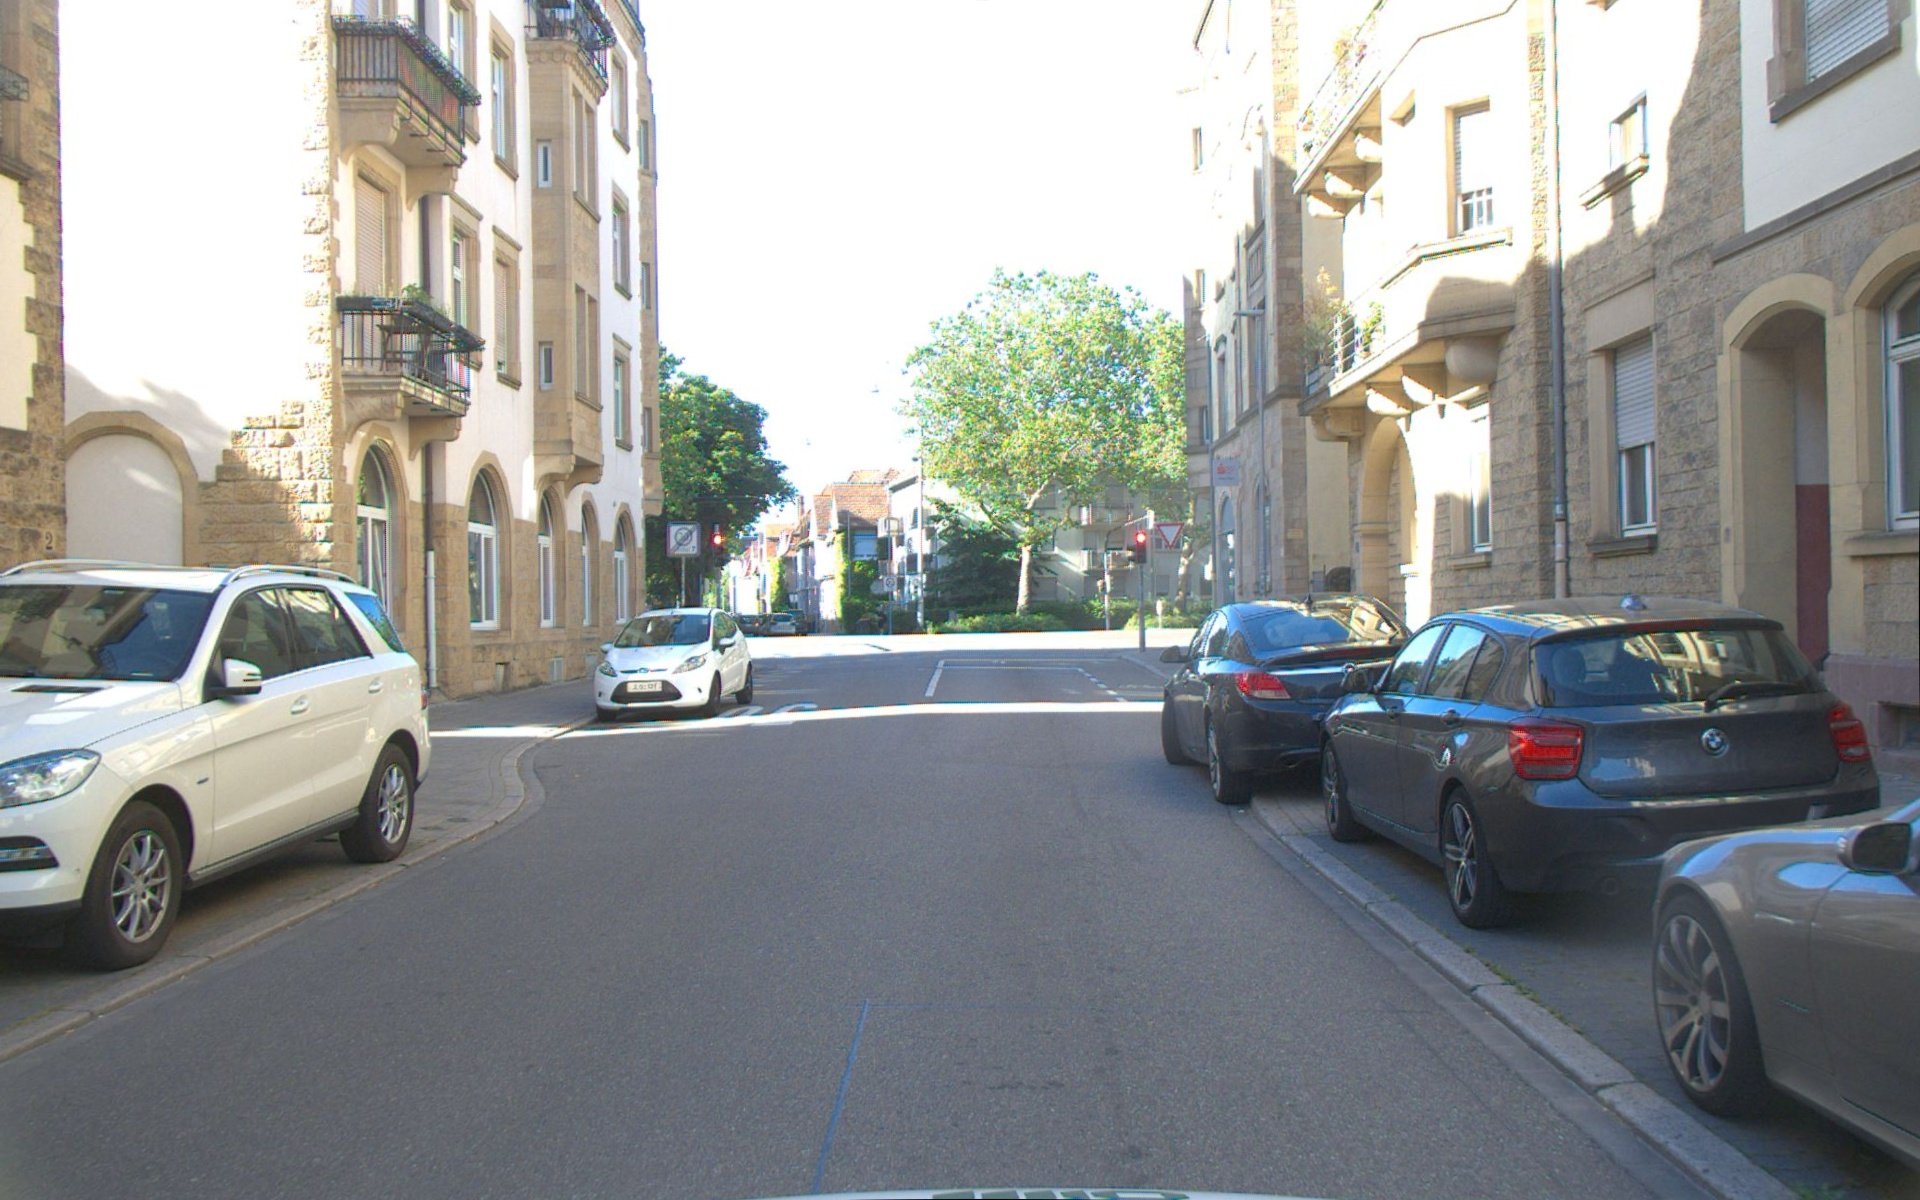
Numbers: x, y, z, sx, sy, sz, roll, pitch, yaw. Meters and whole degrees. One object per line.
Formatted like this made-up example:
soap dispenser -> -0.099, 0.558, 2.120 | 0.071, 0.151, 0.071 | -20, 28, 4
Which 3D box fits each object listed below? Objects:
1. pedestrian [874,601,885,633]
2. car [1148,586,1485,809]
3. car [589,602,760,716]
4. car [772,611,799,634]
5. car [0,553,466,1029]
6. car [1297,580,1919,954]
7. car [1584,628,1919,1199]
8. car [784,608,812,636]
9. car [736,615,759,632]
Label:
pedestrian -> -4.479, 0.935, 92.014 | 0.620, 1.780, 0.659 | 0, -1, -2
car -> 2.720, 0.669, 13.659 | 1.827, 1.487, 4.339 | -2, 0, 0
car -> -3.995, 0.780, 23.678 | 1.599, 1.489, 3.736 | -1, 0, 3
car -> -11.916, 1.551, 112.967 | 1.643, 1.509, 3.514 | 0, -1, -9
car -> -4.286, 0.680, 8.497 | 1.852, 1.752, 4.728 | 1, 0, 3
car -> 3.069, 0.672, 8.847 | 1.617, 1.467, 4.258 | -2, 0, 0
car -> 2.952, 0.752, 3.747 | 1.658, 1.276, 3.942 | -2, 0, 2
car -> -12.461, 1.679, 126.821 | 1.956, 2.049, 3.993 | -1, 0, -8
car -> -17.861, 1.965, 138.972 | 1.707, 1.360, 3.823 | -1, 0, -11
